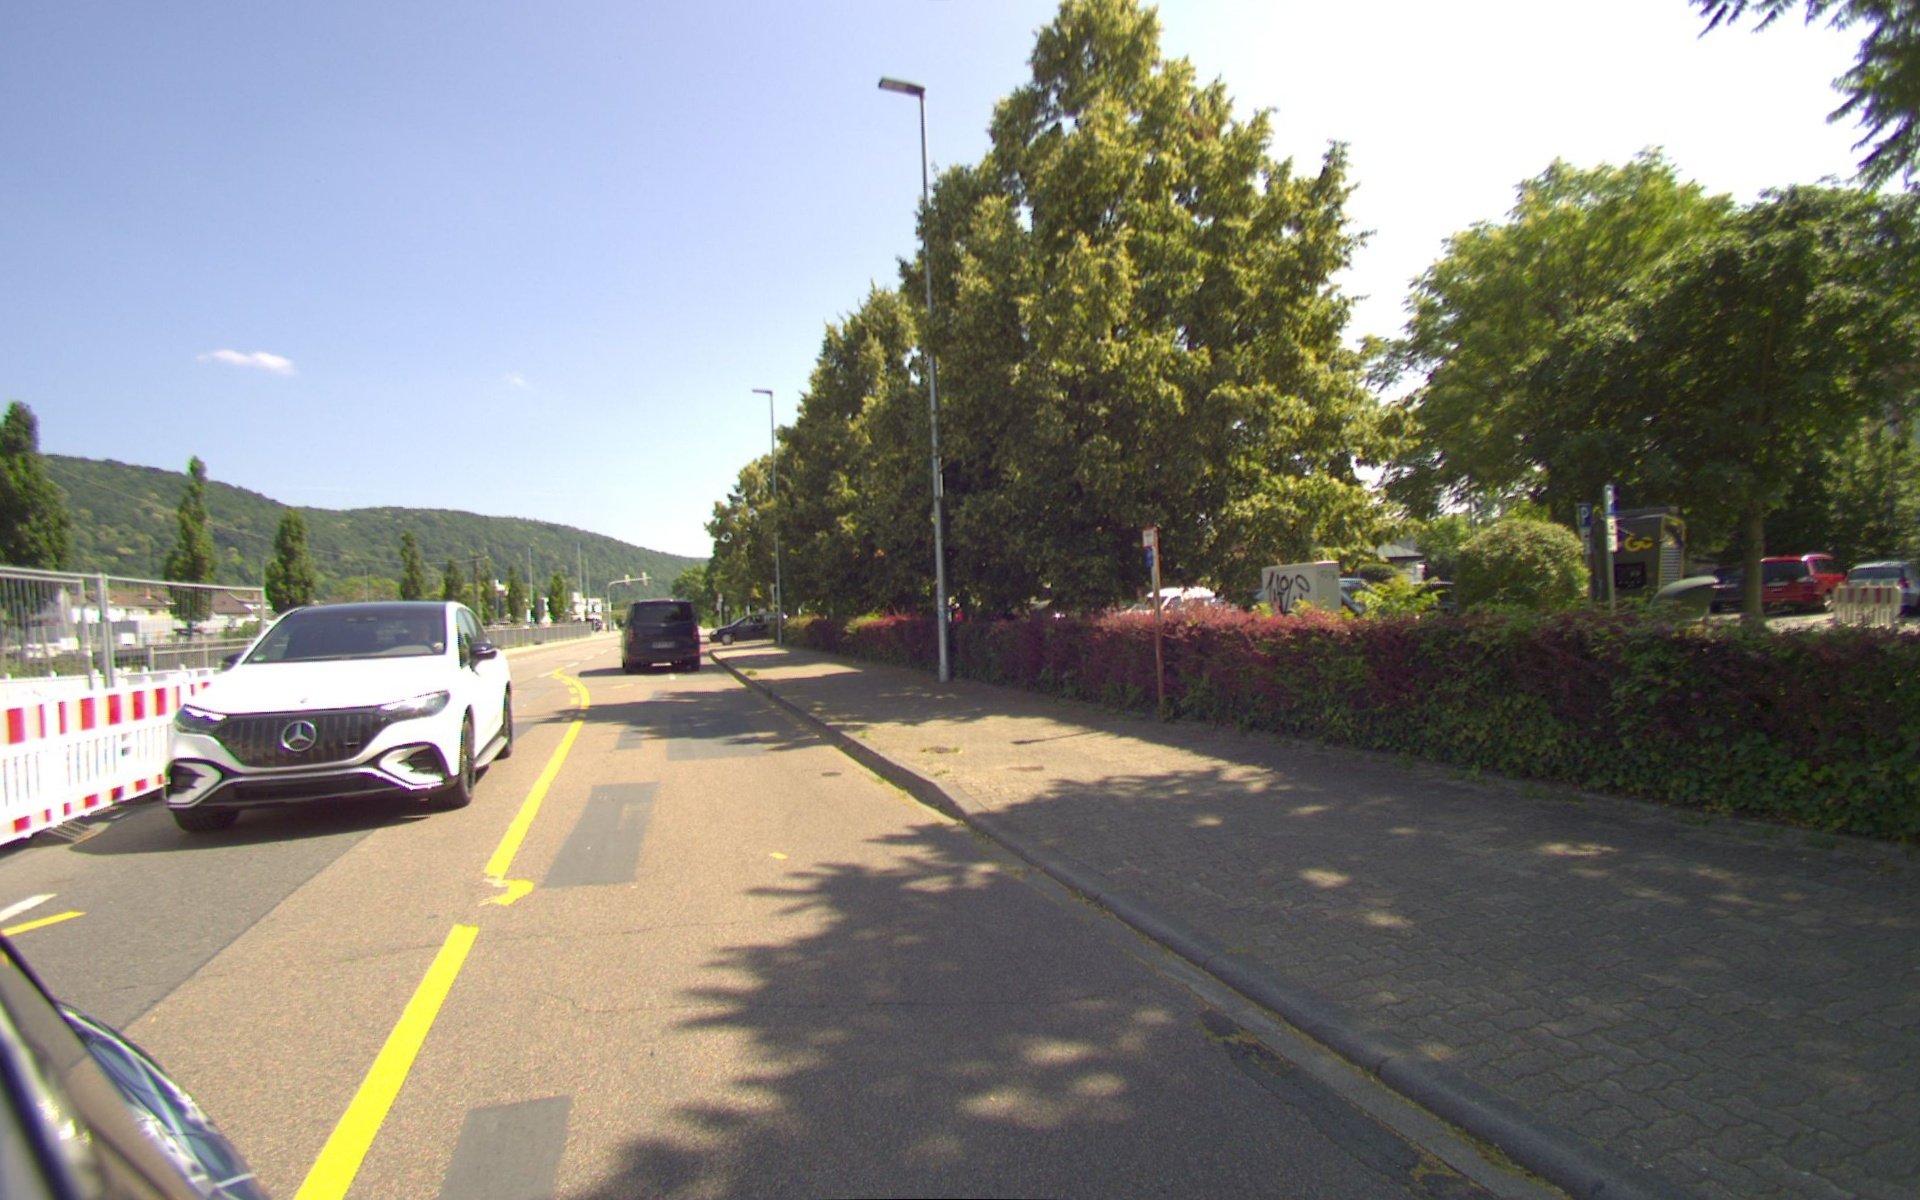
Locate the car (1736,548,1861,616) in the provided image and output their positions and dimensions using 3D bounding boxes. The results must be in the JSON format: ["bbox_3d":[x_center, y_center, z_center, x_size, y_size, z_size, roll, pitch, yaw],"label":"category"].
[{"bbox_3d":[25.575,-0.550,30.841,3.934,1.747,1.778,-4,-2,-34],"label":"car"}]

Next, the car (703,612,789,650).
[{"bbox_3d":[-10.456,1.502,49.515,3.935,1.475,1.885,-5,0,-12],"label":"car"}]

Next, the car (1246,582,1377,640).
[{"bbox_3d":[11.661,0.344,33.481,4.295,1.698,1.867,-2,-1,-35],"label":"car"}]

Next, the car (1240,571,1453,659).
[{"bbox_3d":[8.106,0.333,21.729,1.830,1.698,4.381,0,-1,-19],"label":"car"}]

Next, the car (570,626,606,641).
[{"bbox_3d":[-43.160,3.884,117.286,4.526,1.657,1.973,-2,-1,42],"label":"car"}]

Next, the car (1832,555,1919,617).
[{"bbox_3d":[25.351,-0.422,27.311,3.935,1.486,1.778,-3,-1,-36],"label":"car"}]

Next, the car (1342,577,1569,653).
[{"bbox_3d":[10.606,0.336,22.066,1.830,1.464,4.381,0,-1,-19],"label":"car"}]

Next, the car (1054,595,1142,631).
[{"bbox_3d":[6.576,0.658,48.606,1.889,1.563,4.153,-2,-1,-33],"label":"car"}]

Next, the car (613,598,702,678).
[{"bbox_3d":[-8.603,1.007,28.834,2.146,1.983,5.460,-2,0,-16],"label":"car"}]

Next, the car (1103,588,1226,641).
[{"bbox_3d":[7.452,0.516,36.780,4.240,1.698,1.867,-2,-1,-33],"label":"car"}]

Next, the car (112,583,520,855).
[{"bbox_3d":[-5.273,0.809,9.142,1.966,1.657,5.047,-2,-1,-19],"label":"car"}]
